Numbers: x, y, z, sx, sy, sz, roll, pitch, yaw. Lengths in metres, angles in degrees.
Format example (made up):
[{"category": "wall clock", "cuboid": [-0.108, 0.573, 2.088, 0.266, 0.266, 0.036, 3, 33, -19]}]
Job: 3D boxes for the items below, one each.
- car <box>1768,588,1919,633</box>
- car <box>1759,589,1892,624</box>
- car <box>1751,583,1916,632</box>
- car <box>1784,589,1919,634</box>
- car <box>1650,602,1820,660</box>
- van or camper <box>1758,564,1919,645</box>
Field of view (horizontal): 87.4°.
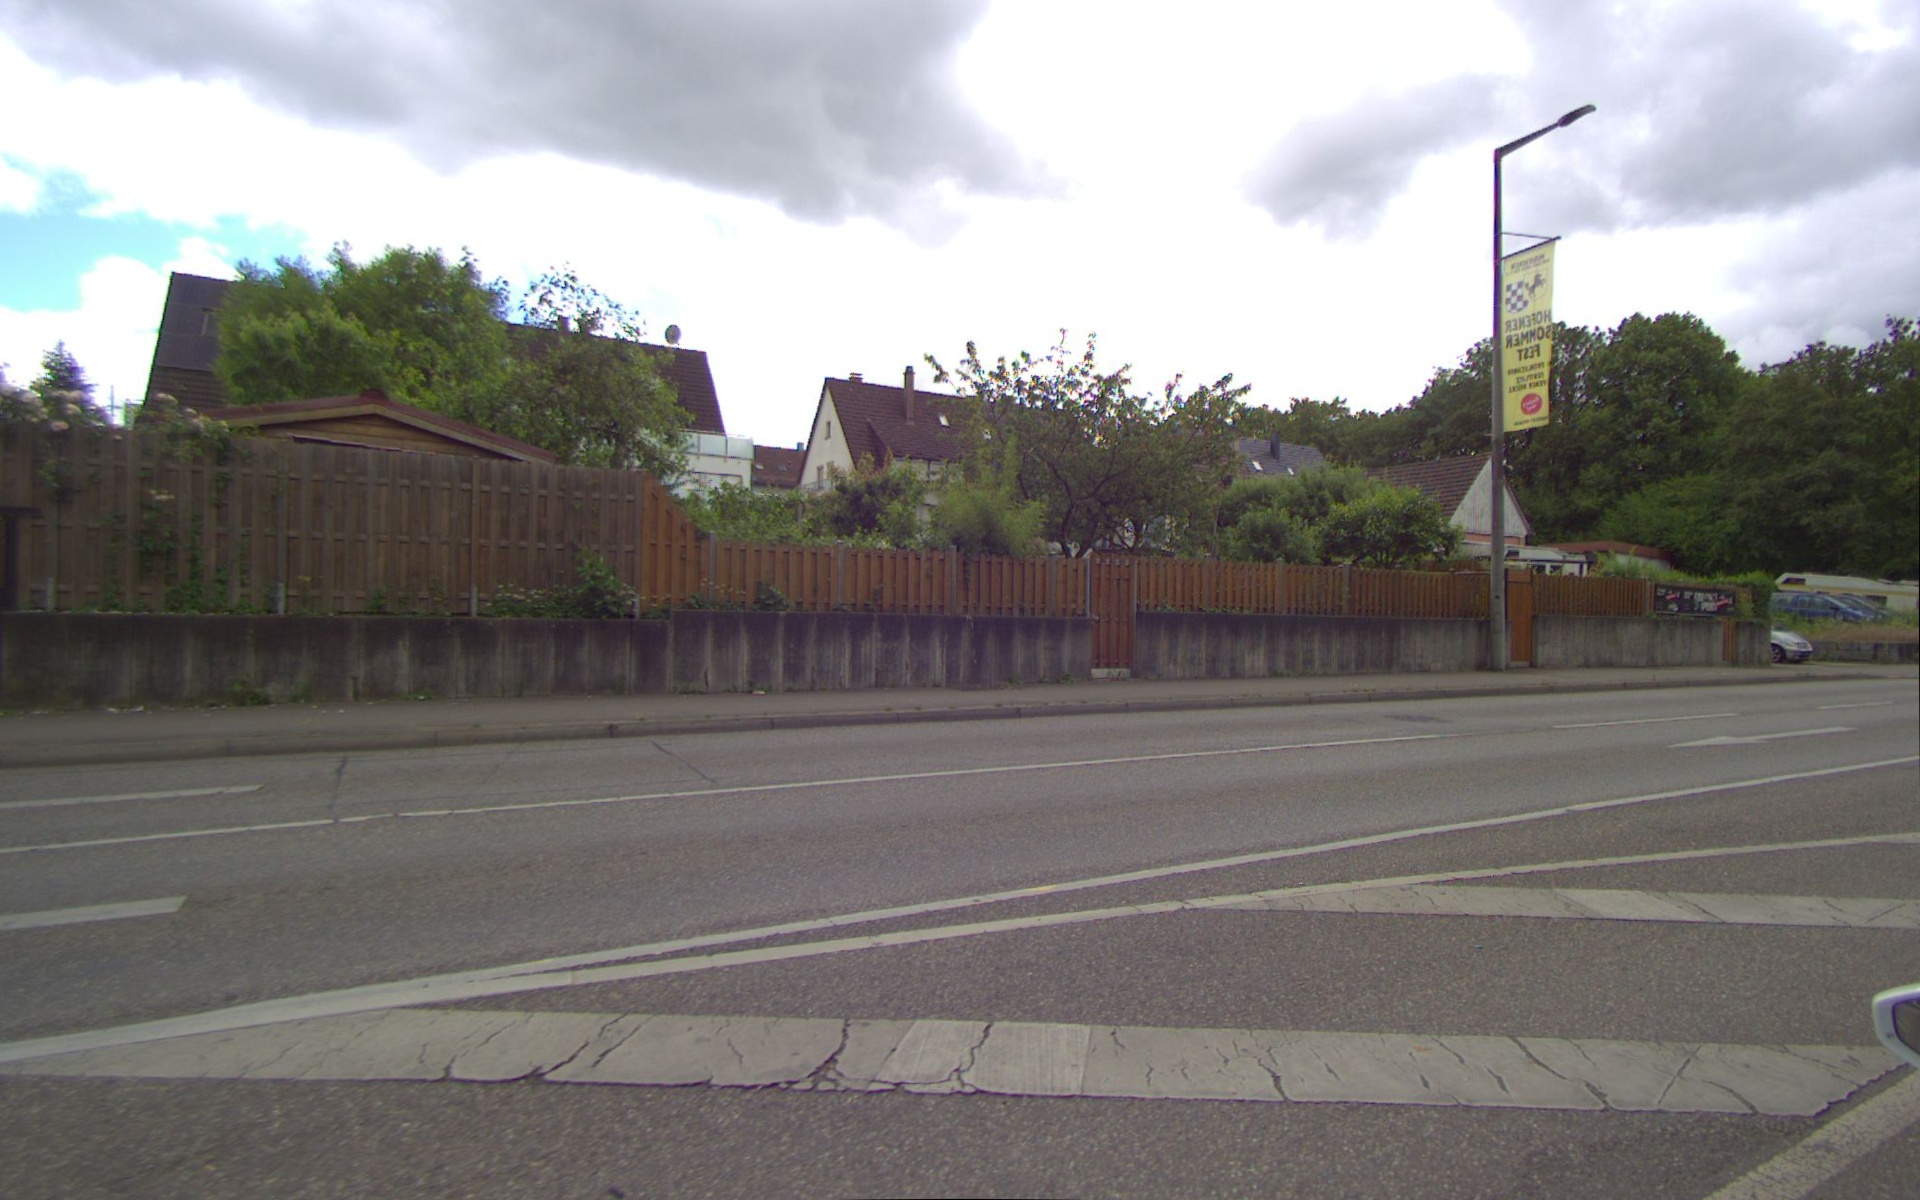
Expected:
[{"category": "car", "cuboid": [32.170, 0.342, 36.576, 1.513, 1.430, 3.975, 2, 1, -25]}, {"category": "car", "cuboid": [38.274, 0.265, 44.514, 1.973, 1.388, 3.975, 2, 1, -25]}, {"category": "car", "cuboid": [30.691, 0.240, 35.437, 1.834, 1.517, 3.975, 2, 1, -25]}, {"category": "car", "cuboid": [33.740, 0.407, 37.731, 1.625, 1.512, 3.975, 2, 1, -25]}, {"category": "car", "cuboid": [25.466, 0.986, 33.147, 1.975, 1.639, 3.970, 2, 1, -28]}, {"category": "van or camper", "cuboid": [45.001, 0.174, 50.337, 2.763, 3.417, 7.107, 1, 5, -29]}]
